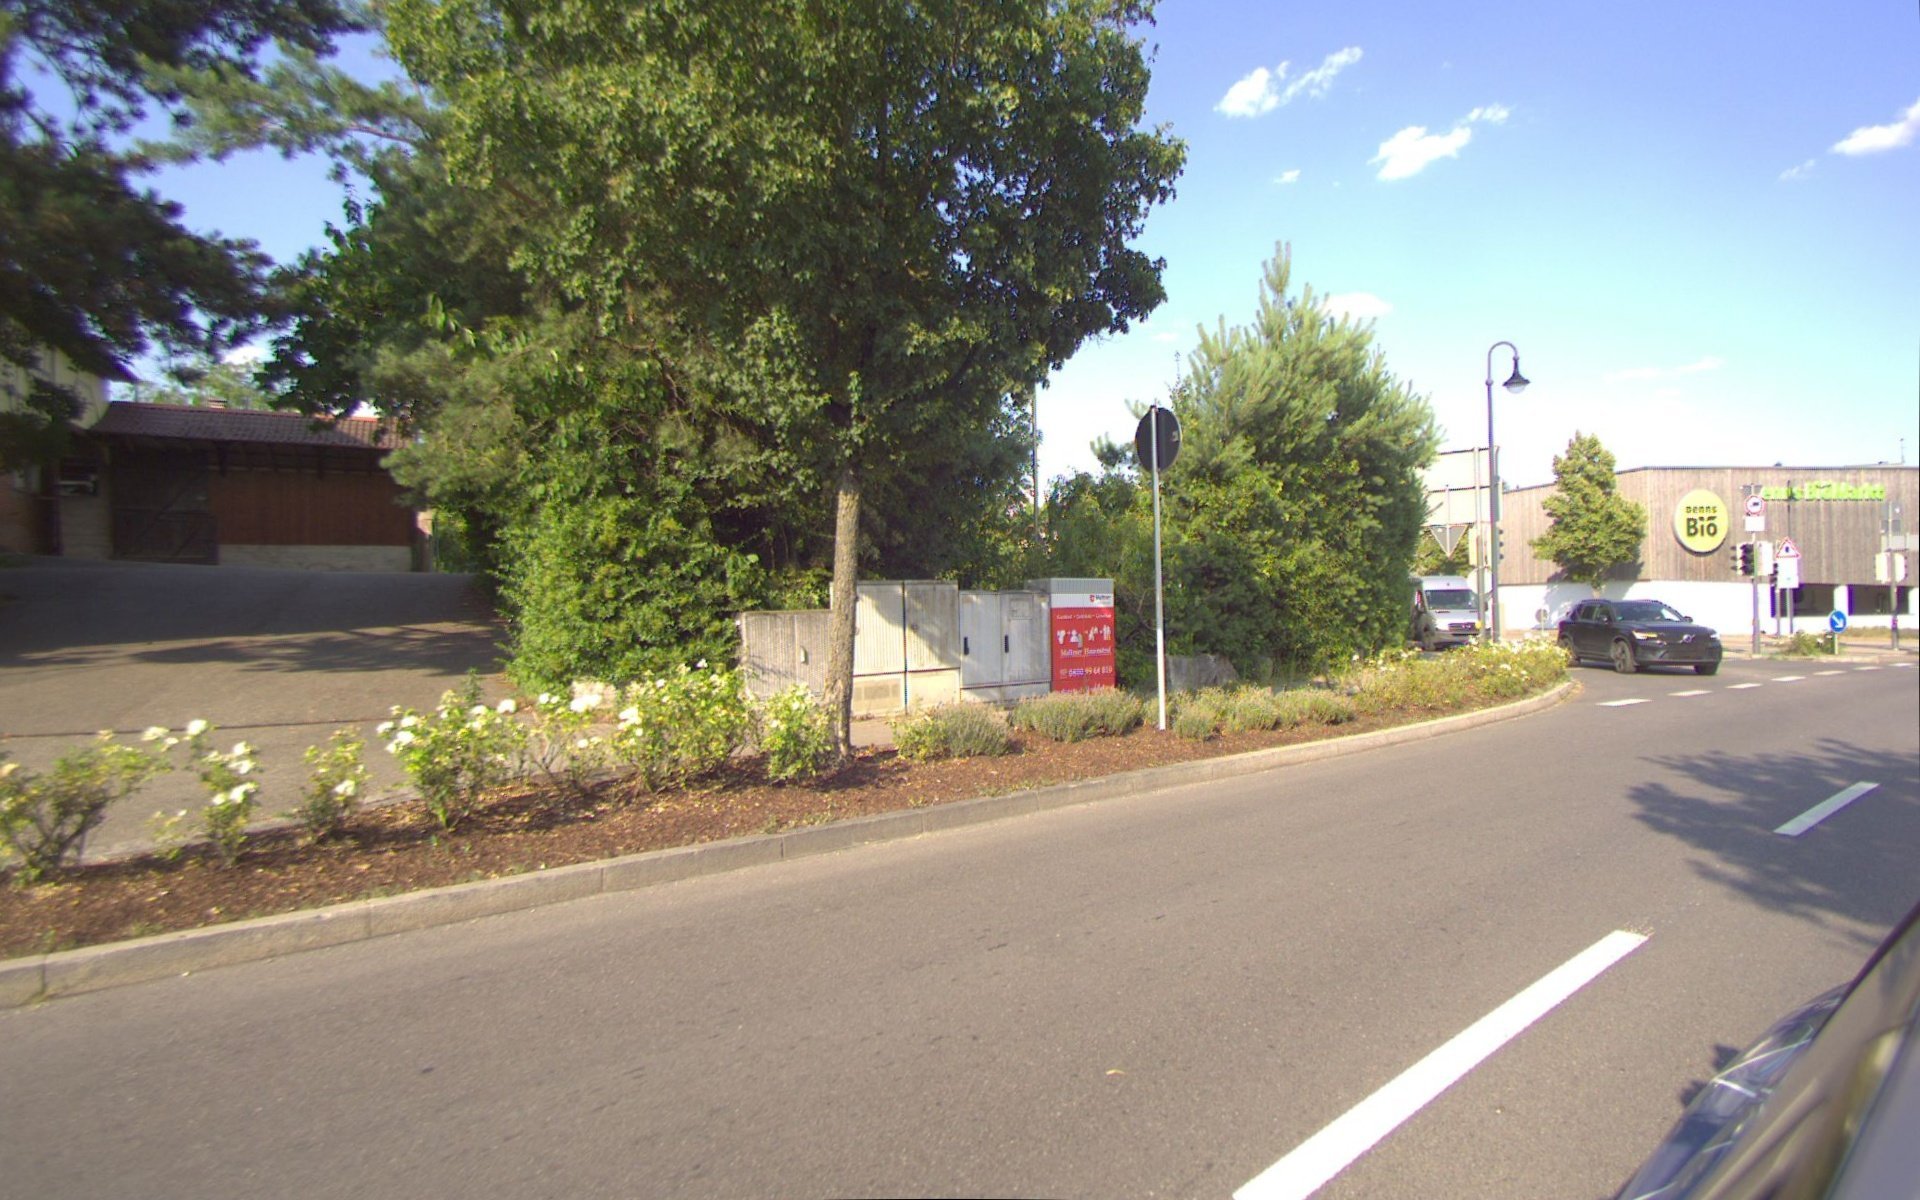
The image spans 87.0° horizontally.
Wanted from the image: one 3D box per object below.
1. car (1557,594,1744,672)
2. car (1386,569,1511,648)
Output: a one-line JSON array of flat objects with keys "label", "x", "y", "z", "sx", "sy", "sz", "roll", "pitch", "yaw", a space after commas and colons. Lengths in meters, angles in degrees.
[{"label": "car", "x": 15.442, "y": 0.669, "z": 22.934, "sx": 1.762, "sy": 1.587, "sz": 4.261, "roll": 0, "pitch": 0, "yaw": 8}, {"label": "car", "x": 17.139, "y": 0.278, "z": 35.915, "sx": 2.156, "sy": 2.553, "sz": 5.849, "roll": 0, "pitch": 0, "yaw": 6}]
